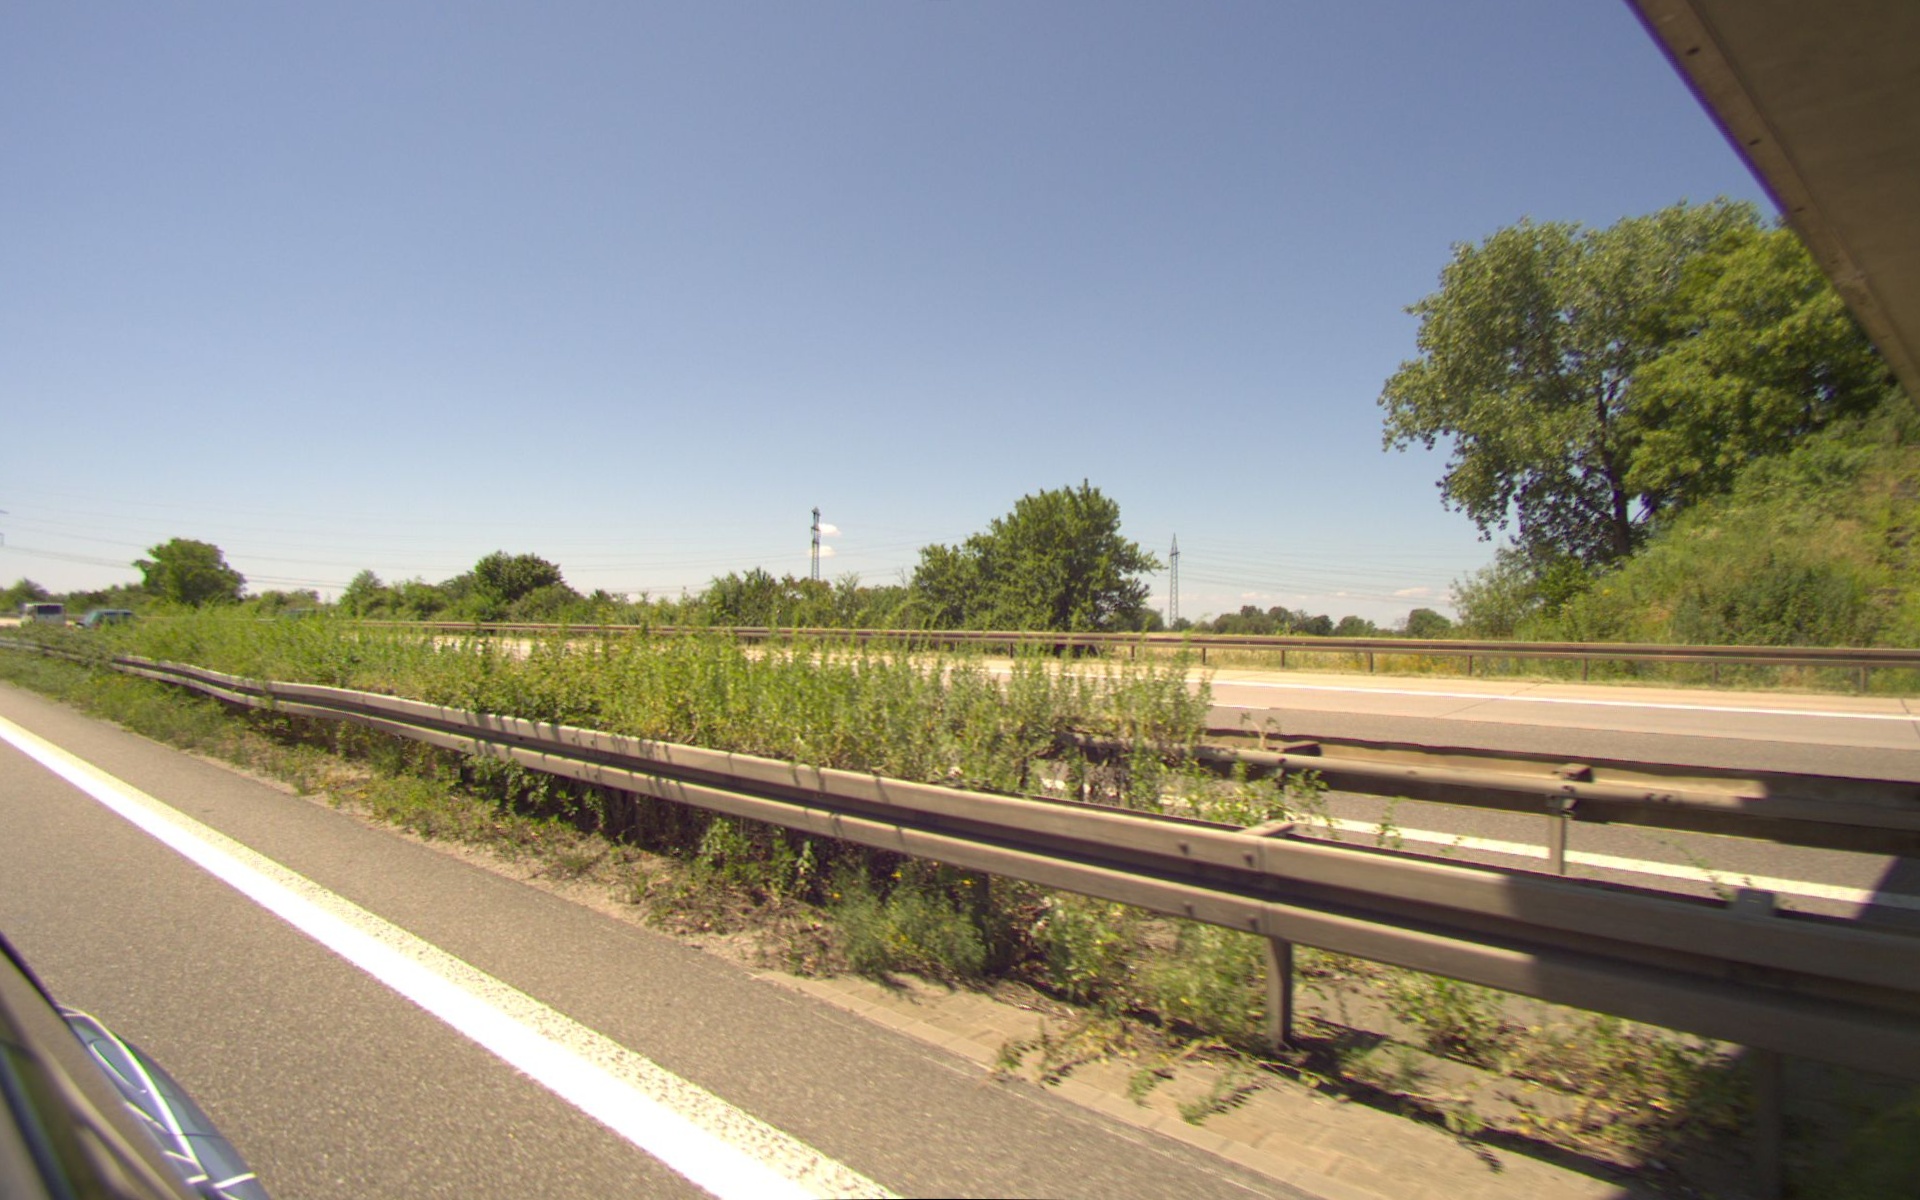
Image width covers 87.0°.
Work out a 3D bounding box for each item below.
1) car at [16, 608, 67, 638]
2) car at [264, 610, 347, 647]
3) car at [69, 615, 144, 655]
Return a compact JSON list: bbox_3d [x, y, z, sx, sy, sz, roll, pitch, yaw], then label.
[{"bbox_3d":[-64.924,1.586,71.491,4.818,2.029,1.886,-1,0,38],"label":"car"},{"bbox_3d":[-30.792,1.305,47.554,5.630,1.613,1.659,-1,1,40],"label":"car"},{"bbox_3d":[-35.367,1.413,41.923,3.997,1.586,1.693,-1,-2,40],"label":"car"}]
